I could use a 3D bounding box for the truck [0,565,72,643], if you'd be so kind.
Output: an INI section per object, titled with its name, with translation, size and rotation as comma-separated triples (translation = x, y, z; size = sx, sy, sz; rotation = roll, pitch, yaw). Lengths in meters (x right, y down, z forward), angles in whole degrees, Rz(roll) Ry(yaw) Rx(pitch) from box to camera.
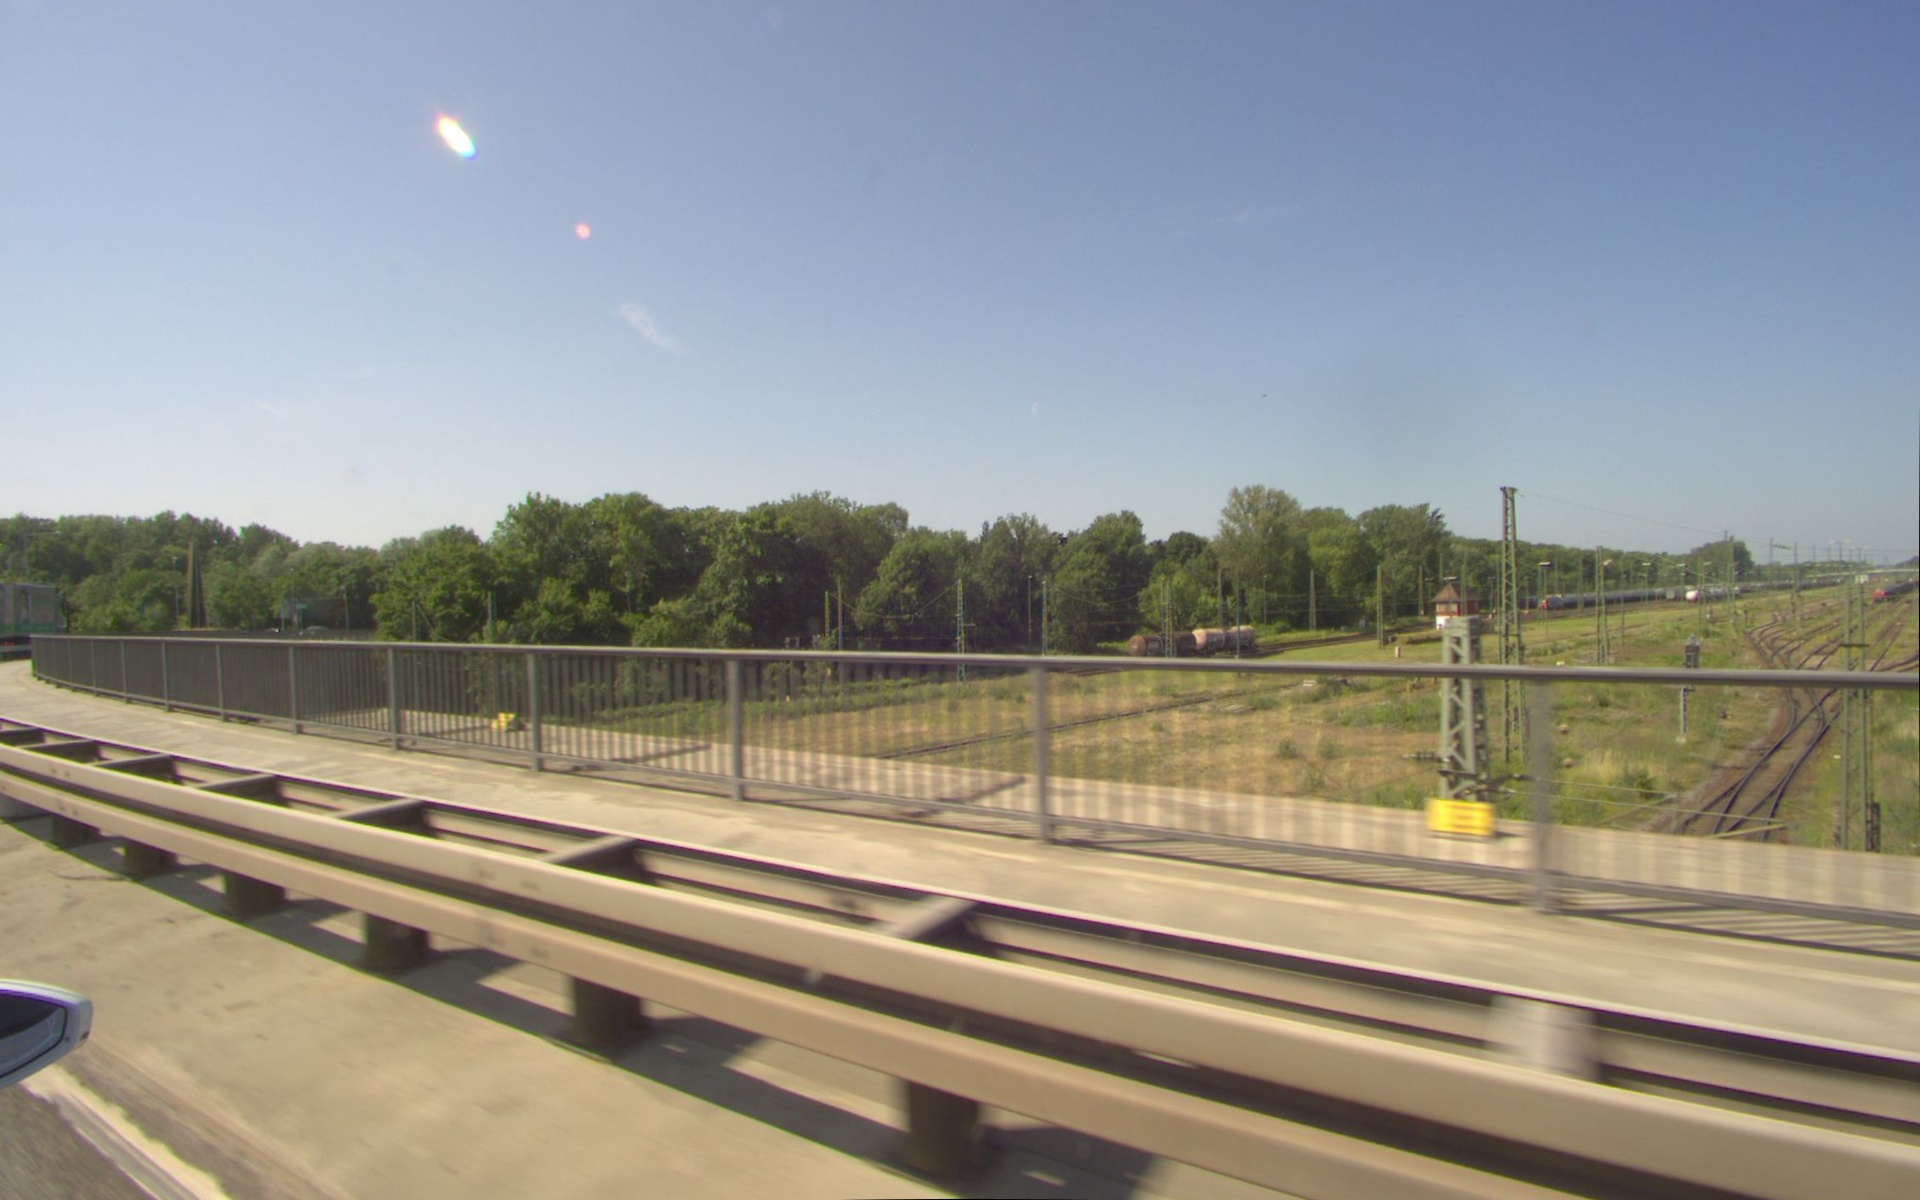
[truck]
translation = -49.591, 0.166, 52.235
size = 3.226, 3.806, 8.324
rotation = 2, -1, -31

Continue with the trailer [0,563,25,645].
[trailer]
translation = -45.657, 0.121, 45.451
size = 3.192, 3.806, 7.777
rotation = 3, -1, -32
